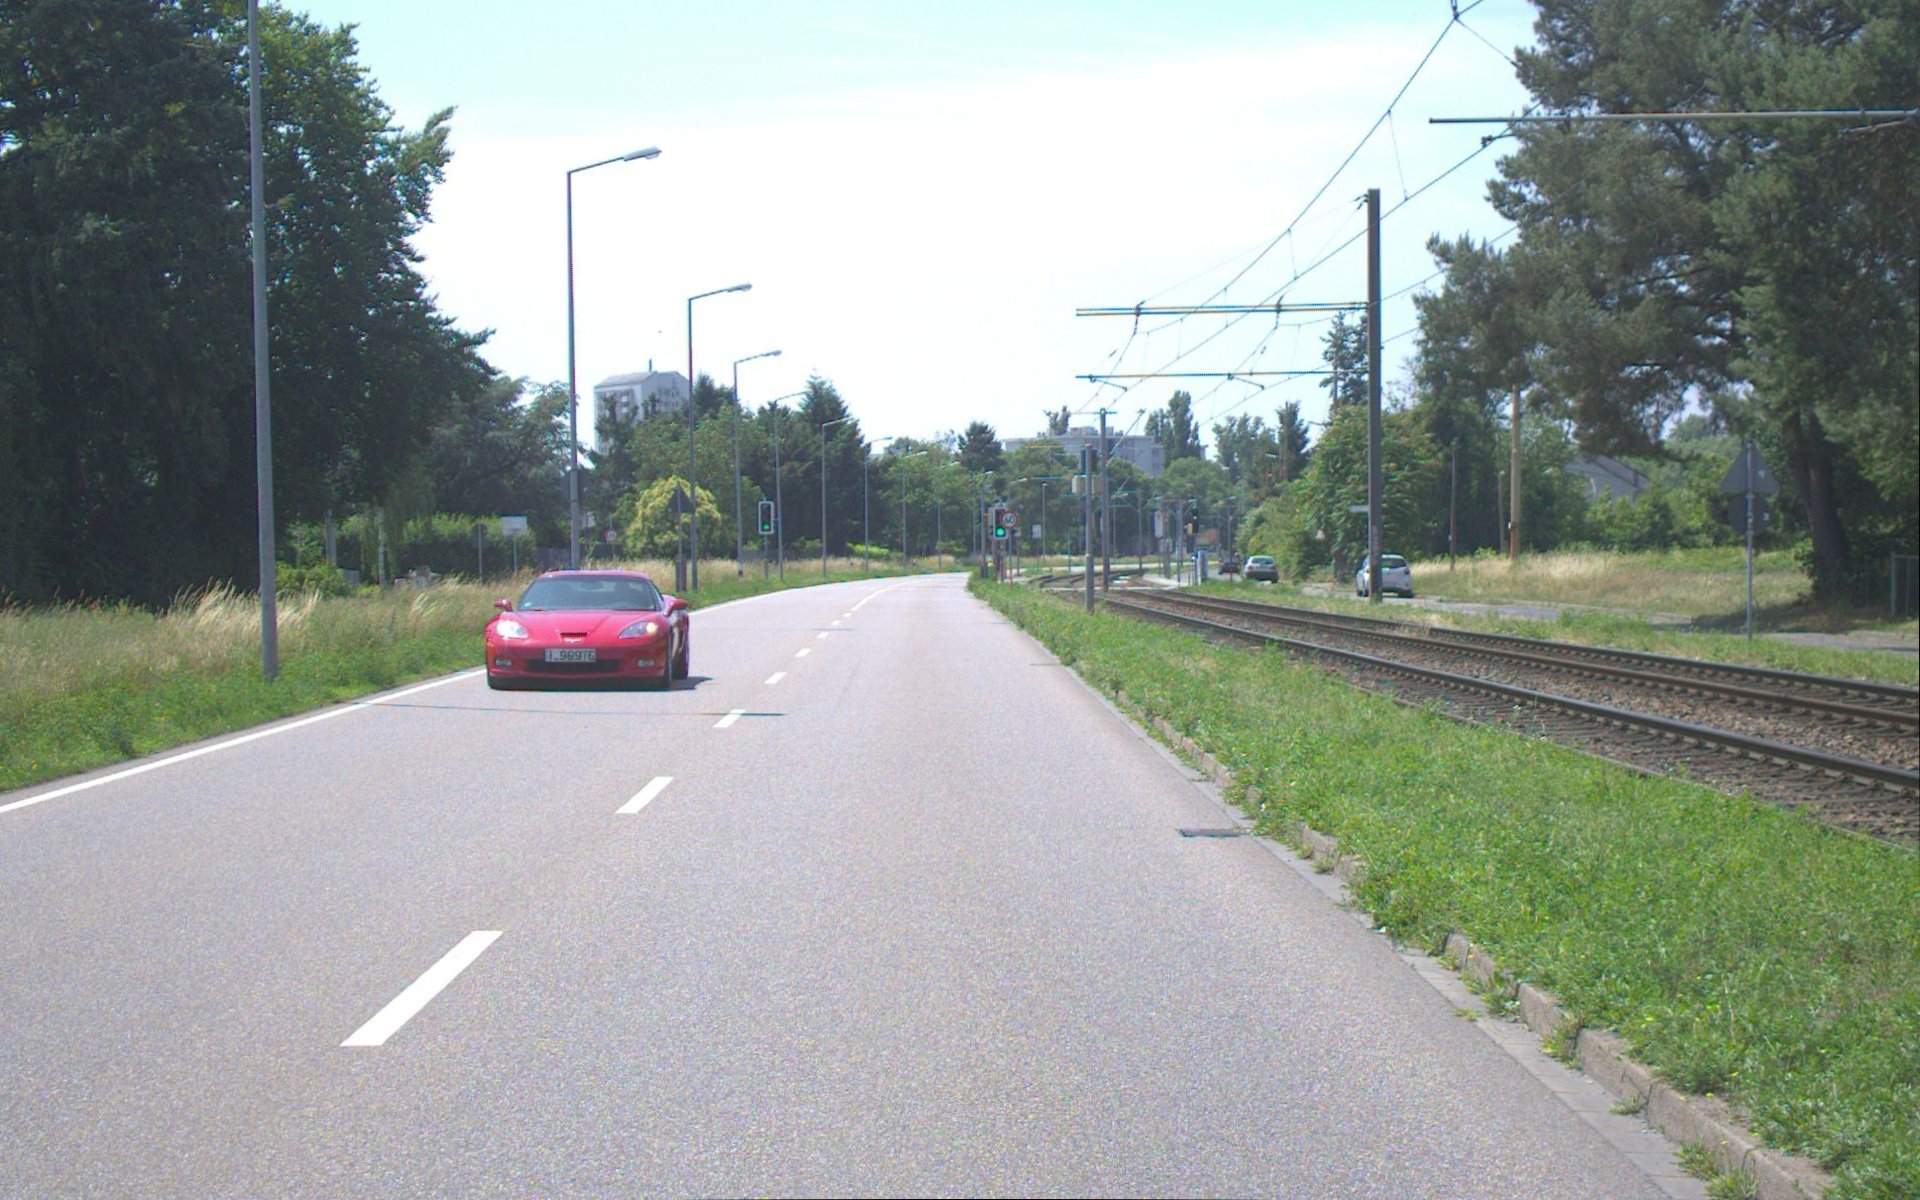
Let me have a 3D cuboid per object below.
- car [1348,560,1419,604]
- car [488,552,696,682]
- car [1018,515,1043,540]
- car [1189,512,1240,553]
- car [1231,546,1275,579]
[{"bbox_3d":[15.008,-0.623,122.014,1.993,1.503,4.000,-1,0,0],"label":"car"},{"bbox_3d":[-3.891,0.173,36.976,1.807,1.281,4.286,-1,0,-1],"label":"car"},{"bbox_3d":[4.739,-4.894,232.293,1.551,1.579,3.569,-1,0,0],"label":"car"},{"bbox_3d":[10.453,-2.764,141.511,1.744,1.554,4.000,-1,0,0],"label":"car"},{"bbox_3d":[15.146,-1.922,177.836,1.915,1.656,4.000,-1,0,0],"label":"car"}]
